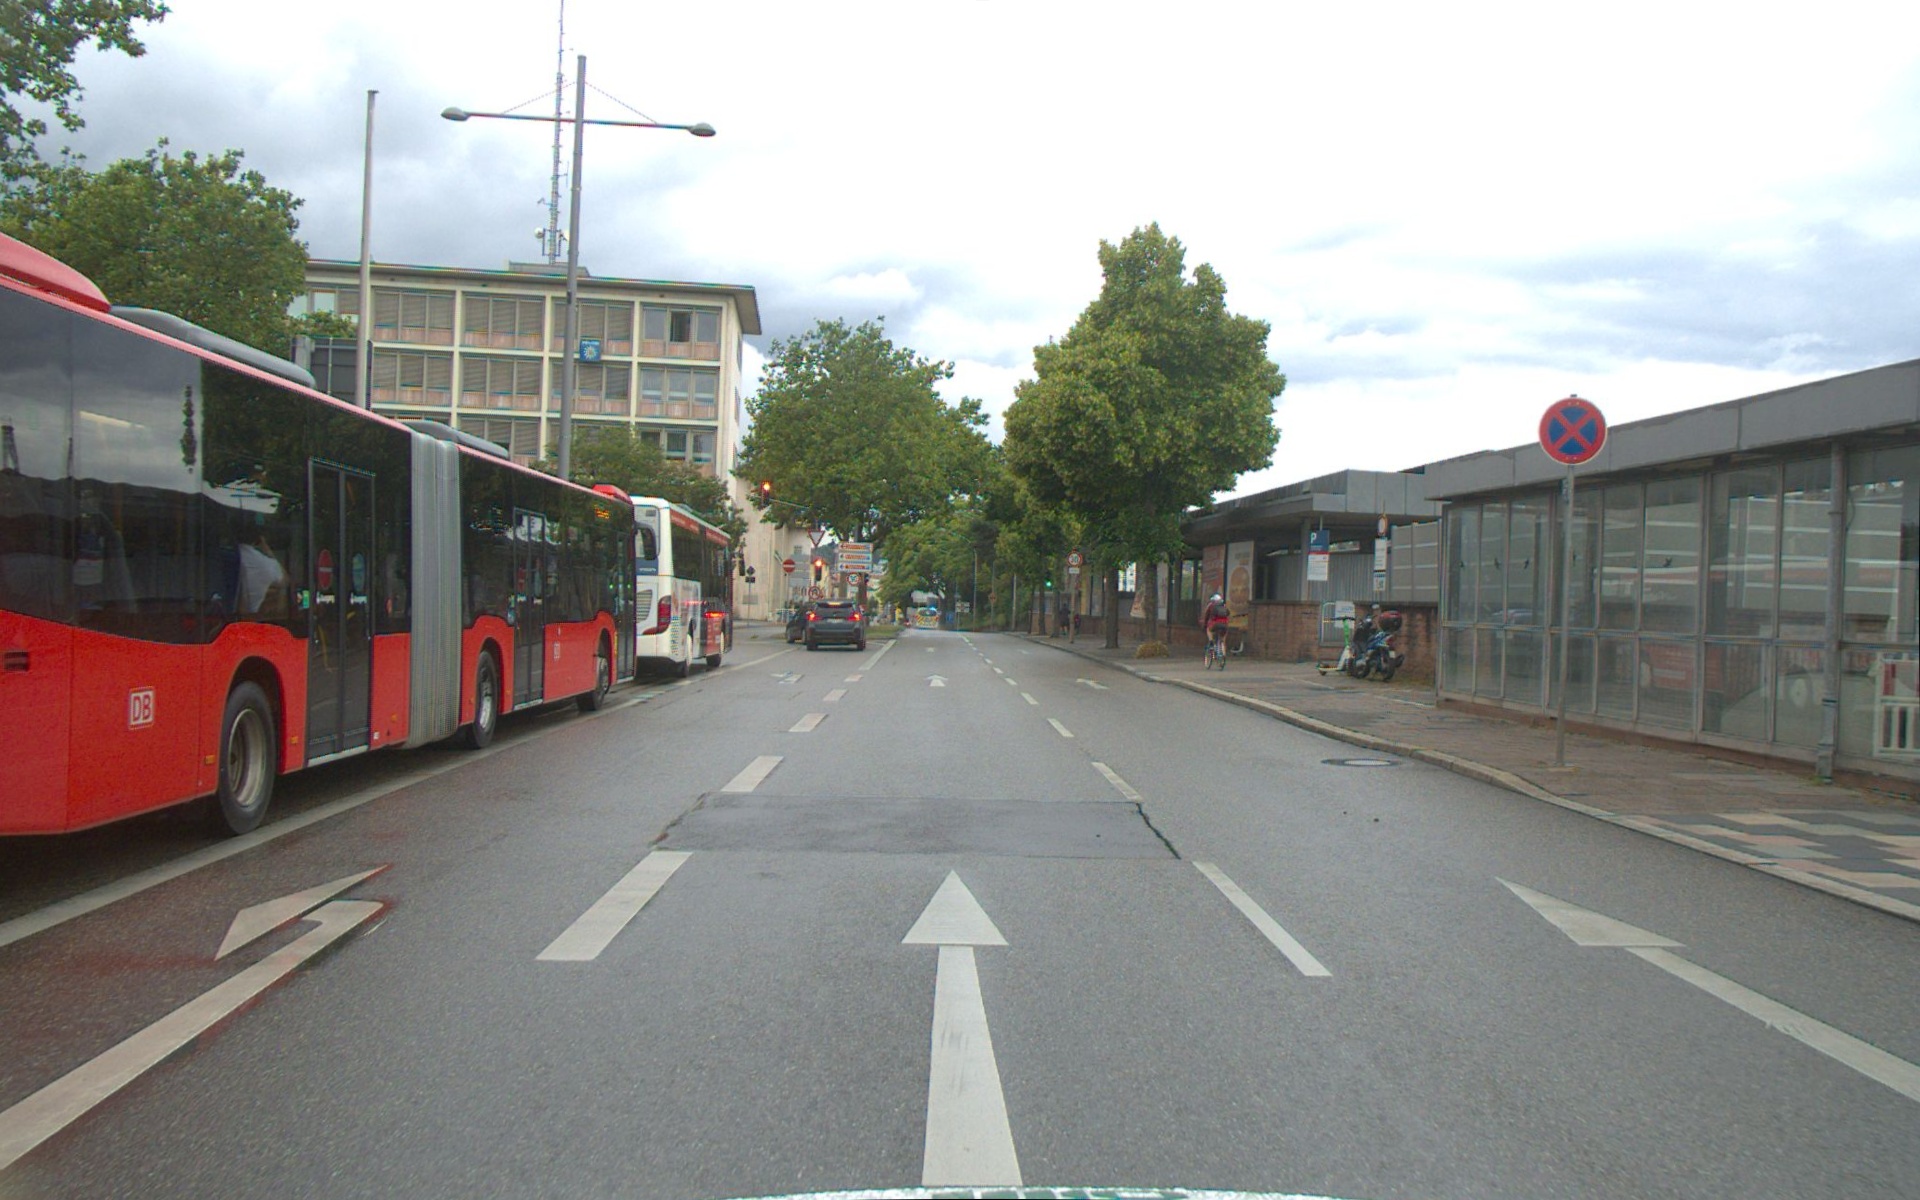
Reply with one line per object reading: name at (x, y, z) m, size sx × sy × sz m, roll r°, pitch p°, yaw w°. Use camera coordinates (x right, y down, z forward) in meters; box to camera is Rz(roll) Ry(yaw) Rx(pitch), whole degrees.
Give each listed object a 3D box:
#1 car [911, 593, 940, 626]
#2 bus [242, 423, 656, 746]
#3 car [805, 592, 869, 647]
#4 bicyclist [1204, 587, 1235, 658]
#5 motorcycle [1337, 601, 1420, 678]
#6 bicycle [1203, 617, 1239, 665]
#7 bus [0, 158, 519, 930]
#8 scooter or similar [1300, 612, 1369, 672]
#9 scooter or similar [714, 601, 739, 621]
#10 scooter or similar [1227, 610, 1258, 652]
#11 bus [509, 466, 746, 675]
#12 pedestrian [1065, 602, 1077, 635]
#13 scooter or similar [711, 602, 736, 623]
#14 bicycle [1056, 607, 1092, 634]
car at (-2.888, 0.746, 136.929) m, size 2.219 × 2.703 × 3.997 m, roll 1°, pitch 0°, yaw -3°
bus at (-5.896, -0.163, 20.899) m, size 2.697 × 3.187 × 8.840 m, roll 1°, pitch 0°, yaw -2°
car at (-3.896, 0.620, 52.975) m, size 1.925 × 1.668 × 4.356 m, roll 1°, pitch 0°, yaw -3°
bicyclist at (5.853, 0.505, 37.276) m, size 0.523 × 1.565 × 0.694 m, roll -1°, pitch 0°, yaw -4°
motorcycle at (7.848, 0.720, 31.121) m, size 0.776 × 1.371 × 2.455 m, roll 1°, pitch 0°, yaw -4°
bicycle at (5.872, 0.907, 37.292) m, size 0.437 × 1.034 × 1.676 m, roll -1°, pitch 0°, yaw -4°
bus at (-5.634, -0.262, 11.542) m, size 2.753 × 3.302 × 9.909 m, roll 1°, pitch 0°, yaw -2°
scooter or similar at (7.527, 0.835, 33.298) m, size 0.485 × 1.173 × 1.704 m, roll 1°, pitch -1°, yaw -21°
scooter or similar at (-13.979, 0.685, 99.079) m, size 0.596 × 1.185 × 1.524 m, roll 0°, pitch -1°, yaw 31°
scooter or similar at (7.877, 0.858, 46.186) m, size 0.483 × 1.173 × 1.544 m, roll 1°, pitch -1°, yaw -4°
bus at (-6.446, -0.494, 34.325) m, size 2.896 × 3.499 × 12.552 m, roll 1°, pitch 0°, yaw -3°
pedestrian at (5.352, 0.898, 79.642) m, size 0.448 × 1.596 × 0.392 m, roll 0°, pitch 0°, yaw 30°
scooter or similar at (-13.784, 0.707, 96.445) m, size 0.596 × 1.213 × 1.524 m, roll 0°, pitch -1°, yaw 31°
bicycle at (5.531, 0.984, 80.050) m, size 1.688 × 1.271 × 0.485 m, roll 0°, pitch 0°, yaw 30°
